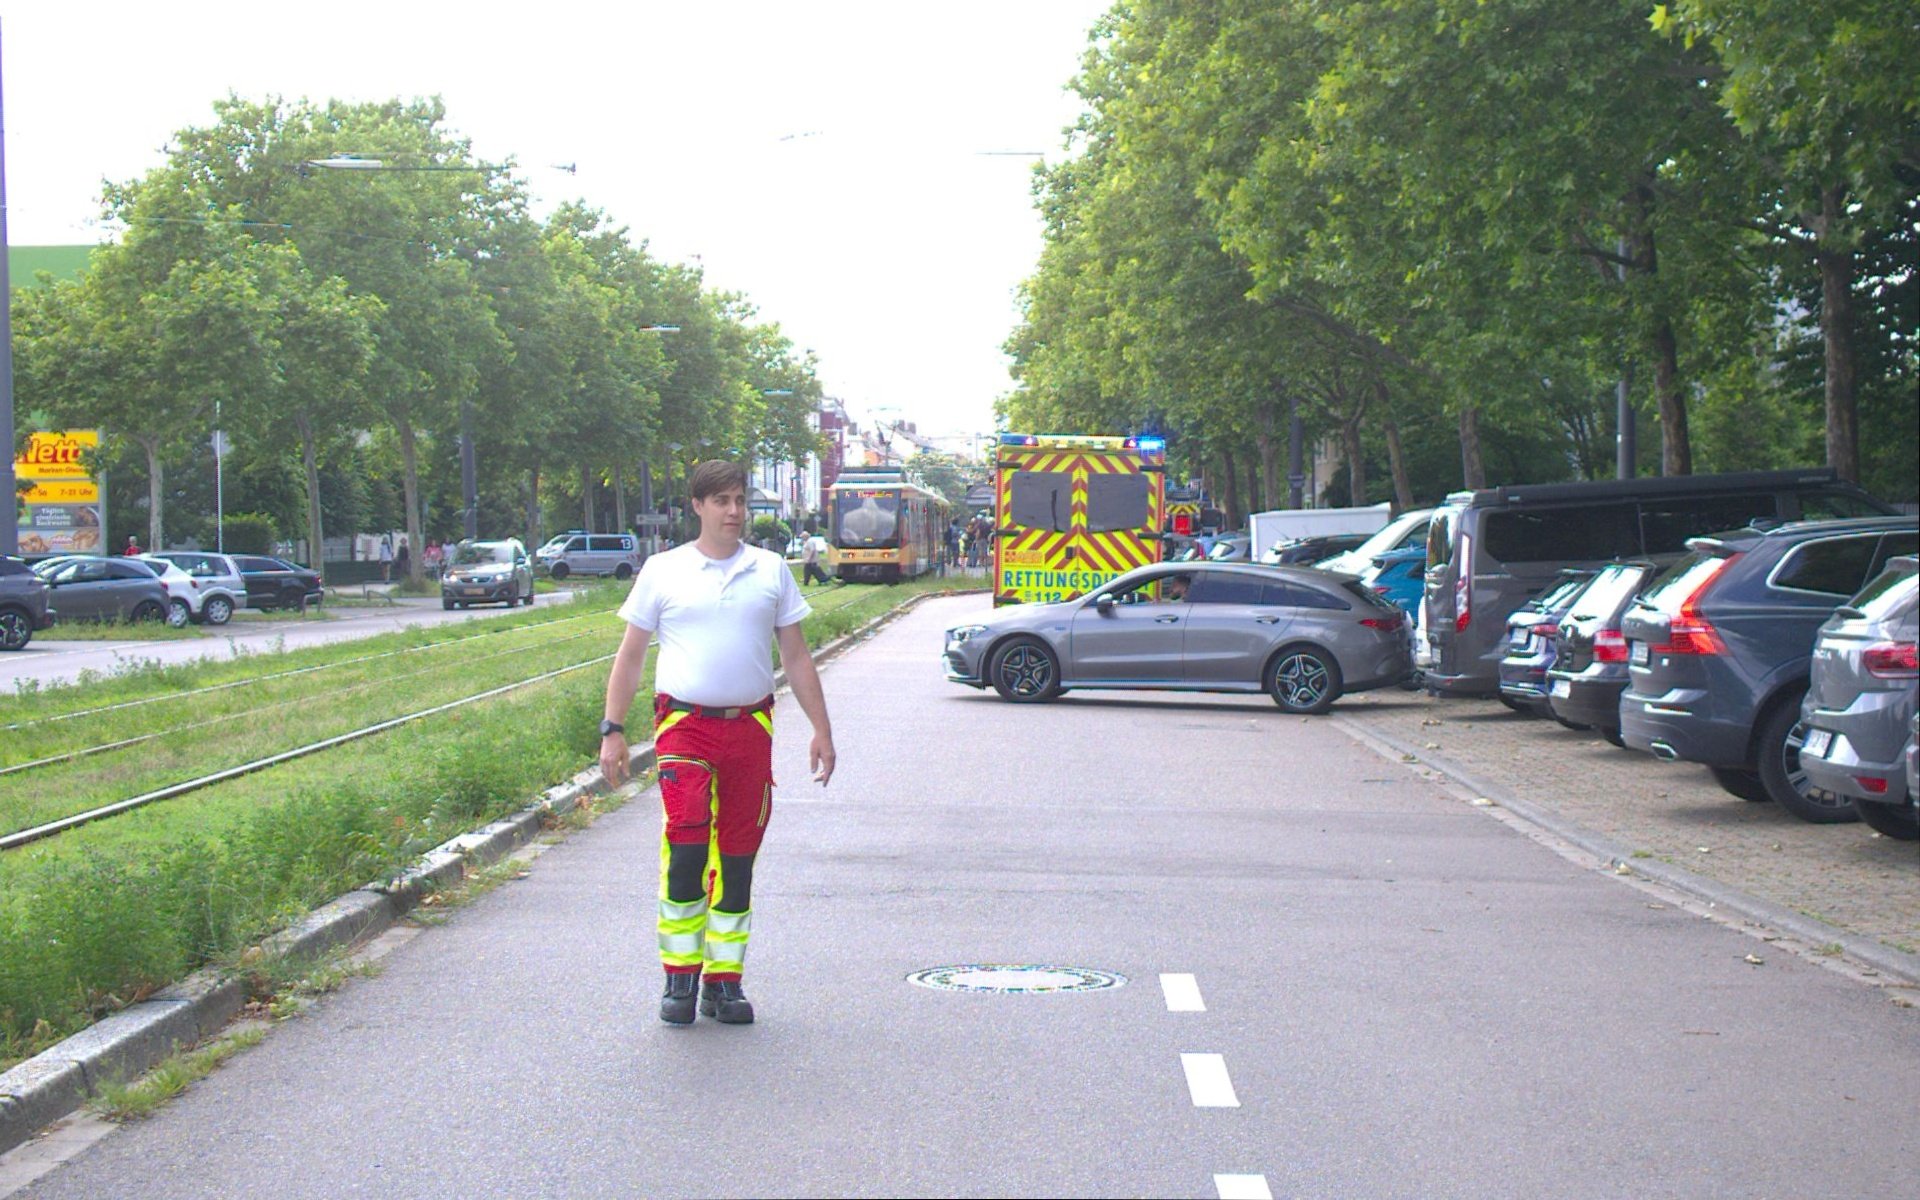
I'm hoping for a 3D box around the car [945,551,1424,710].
[{"bbox_3d":[2.232,0.267,33.695,4.455,1.381,1.766,2,1,12],"label":"car"}]

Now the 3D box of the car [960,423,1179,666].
[{"bbox_3d":[1.532,-0.746,46.591,2.641,2.956,6.299,2,1,3],"label":"car"}]

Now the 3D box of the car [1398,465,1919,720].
[{"bbox_3d":[6.322,-0.081,30.755,4.545,2.116,1.856,-1,1,1],"label":"car"}]

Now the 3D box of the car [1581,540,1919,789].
[{"bbox_3d":[6.146,0.364,22.146,3.965,1.489,1.756,-1,1,1],"label":"car"}]

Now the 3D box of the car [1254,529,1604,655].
[{"bbox_3d":[6.493,-0.123,47.890,4.545,1.603,1.856,-1,1,-2],"label":"car"}]

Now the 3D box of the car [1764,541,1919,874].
[{"bbox_3d":[6.244,0.435,16.487,4.381,1.496,1.756,-1,1,3],"label":"car"}]

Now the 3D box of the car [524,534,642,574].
[{"bbox_3d":[-15.805,-1.925,144.270,4.614,1.627,1.883,-1,1,-37],"label":"car"}]

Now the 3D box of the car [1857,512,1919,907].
[{"bbox_3d":[6.252,0.397,14.018,4.658,1.620,1.848,-1,1,-2],"label":"car"}]

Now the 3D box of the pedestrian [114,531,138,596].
[{"bbox_3d":[-21.673,-0.952,89.320,0.466,1.671,0.603,-1,1,0],"label":"pedestrian"}]

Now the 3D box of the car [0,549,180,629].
[{"bbox_3d":[-17.272,-0.217,65.656,4.221,1.477,1.883,0,1,-34],"label":"car"}]

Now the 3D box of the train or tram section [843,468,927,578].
[{"bbox_3d":[-2.519,-2.590,118.101,2.512,3.572,7.445,-2,0,1],"label":"train or tram section"}]

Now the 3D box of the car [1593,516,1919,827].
[{"bbox_3d":[5.875,0.339,19.203,4.381,1.634,1.756,-1,1,3],"label":"car"}]

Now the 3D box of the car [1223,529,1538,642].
[{"bbox_3d":[6.455,-0.236,53.050,4.545,1.603,1.856,-1,1,-2],"label":"car"}]

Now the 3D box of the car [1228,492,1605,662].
[{"bbox_3d":[5.854,-0.306,44.434,4.545,2.036,1.856,-1,1,-2],"label":"car"}]

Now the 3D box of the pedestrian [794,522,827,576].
[{"bbox_3d":[-4.286,-1.449,98.631,0.881,1.520,0.751,1,0,1],"label":"pedestrian"}]

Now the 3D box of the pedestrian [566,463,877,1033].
[{"bbox_3d":[-0.752,0.429,10.646,0.803,1.680,0.851,0,1,-15],"label":"pedestrian"}]

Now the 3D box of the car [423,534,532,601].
[{"bbox_3d":[-11.913,-0.835,85.157,1.993,1.552,4.370,-2,1,0],"label":"car"}]

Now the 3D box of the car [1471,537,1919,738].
[{"bbox_3d":[6.238,0.276,27.726,3.965,1.489,1.756,-1,0,1],"label":"car"}]

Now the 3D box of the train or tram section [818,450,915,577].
[{"bbox_3d":[-2.752,-2.526,103.224,2.512,3.572,7.445,-2,0,1],"label":"train or tram section"}]

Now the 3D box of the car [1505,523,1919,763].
[{"bbox_3d":[6.139,0.263,24.868,3.964,1.600,1.756,-1,1,-9],"label":"car"}]

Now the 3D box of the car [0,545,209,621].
[{"bbox_3d":[-17.343,-0.341,68.530,4.221,1.477,1.883,0,1,-34],"label":"car"}]

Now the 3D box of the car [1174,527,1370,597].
[{"bbox_3d":[7.633,-0.933,84.432,4.545,1.603,1.856,-1,1,-2],"label":"car"}]

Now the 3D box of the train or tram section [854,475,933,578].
[{"bbox_3d":[-2.391,-2.622,125.539,2.512,3.572,7.445,-2,0,1],"label":"train or tram section"}]

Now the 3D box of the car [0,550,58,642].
[{"bbox_3d":[-16.866,-0.081,55.470,4.220,1.477,1.884,0,1,-23],"label":"car"}]

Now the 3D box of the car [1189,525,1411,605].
[{"bbox_3d":[7.360,-0.766,74.586,4.545,1.603,1.856,-1,1,-2],"label":"car"}]

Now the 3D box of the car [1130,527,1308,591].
[{"bbox_3d":[6.960,-1.119,92.691,4.545,1.603,1.856,-1,1,-2],"label":"car"}]

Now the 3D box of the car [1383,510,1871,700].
[{"bbox_3d":[6.672,0.036,34.743,4.545,1.760,1.856,-1,1,1],"label":"car"}]

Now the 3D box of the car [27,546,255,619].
[{"bbox_3d":[-17.029,-0.360,71.547,4.221,1.477,1.883,0,1,-34],"label":"car"}]

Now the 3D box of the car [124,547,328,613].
[{"bbox_3d":[-17.014,-0.466,79.755,4.222,1.477,1.883,0,1,-38],"label":"car"}]

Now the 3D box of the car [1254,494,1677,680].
[{"bbox_3d":[5.803,-0.164,39.840,4.545,1.994,1.856,-1,1,-2],"label":"car"}]

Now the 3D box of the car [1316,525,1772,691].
[{"bbox_3d":[6.278,0.068,37.290,4.545,1.655,1.856,-1,1,-3],"label":"car"}]

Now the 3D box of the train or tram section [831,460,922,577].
[{"bbox_3d":[-2.640,-2.558,110.656,2.512,3.572,7.445,-2,0,1],"label":"train or tram section"}]
